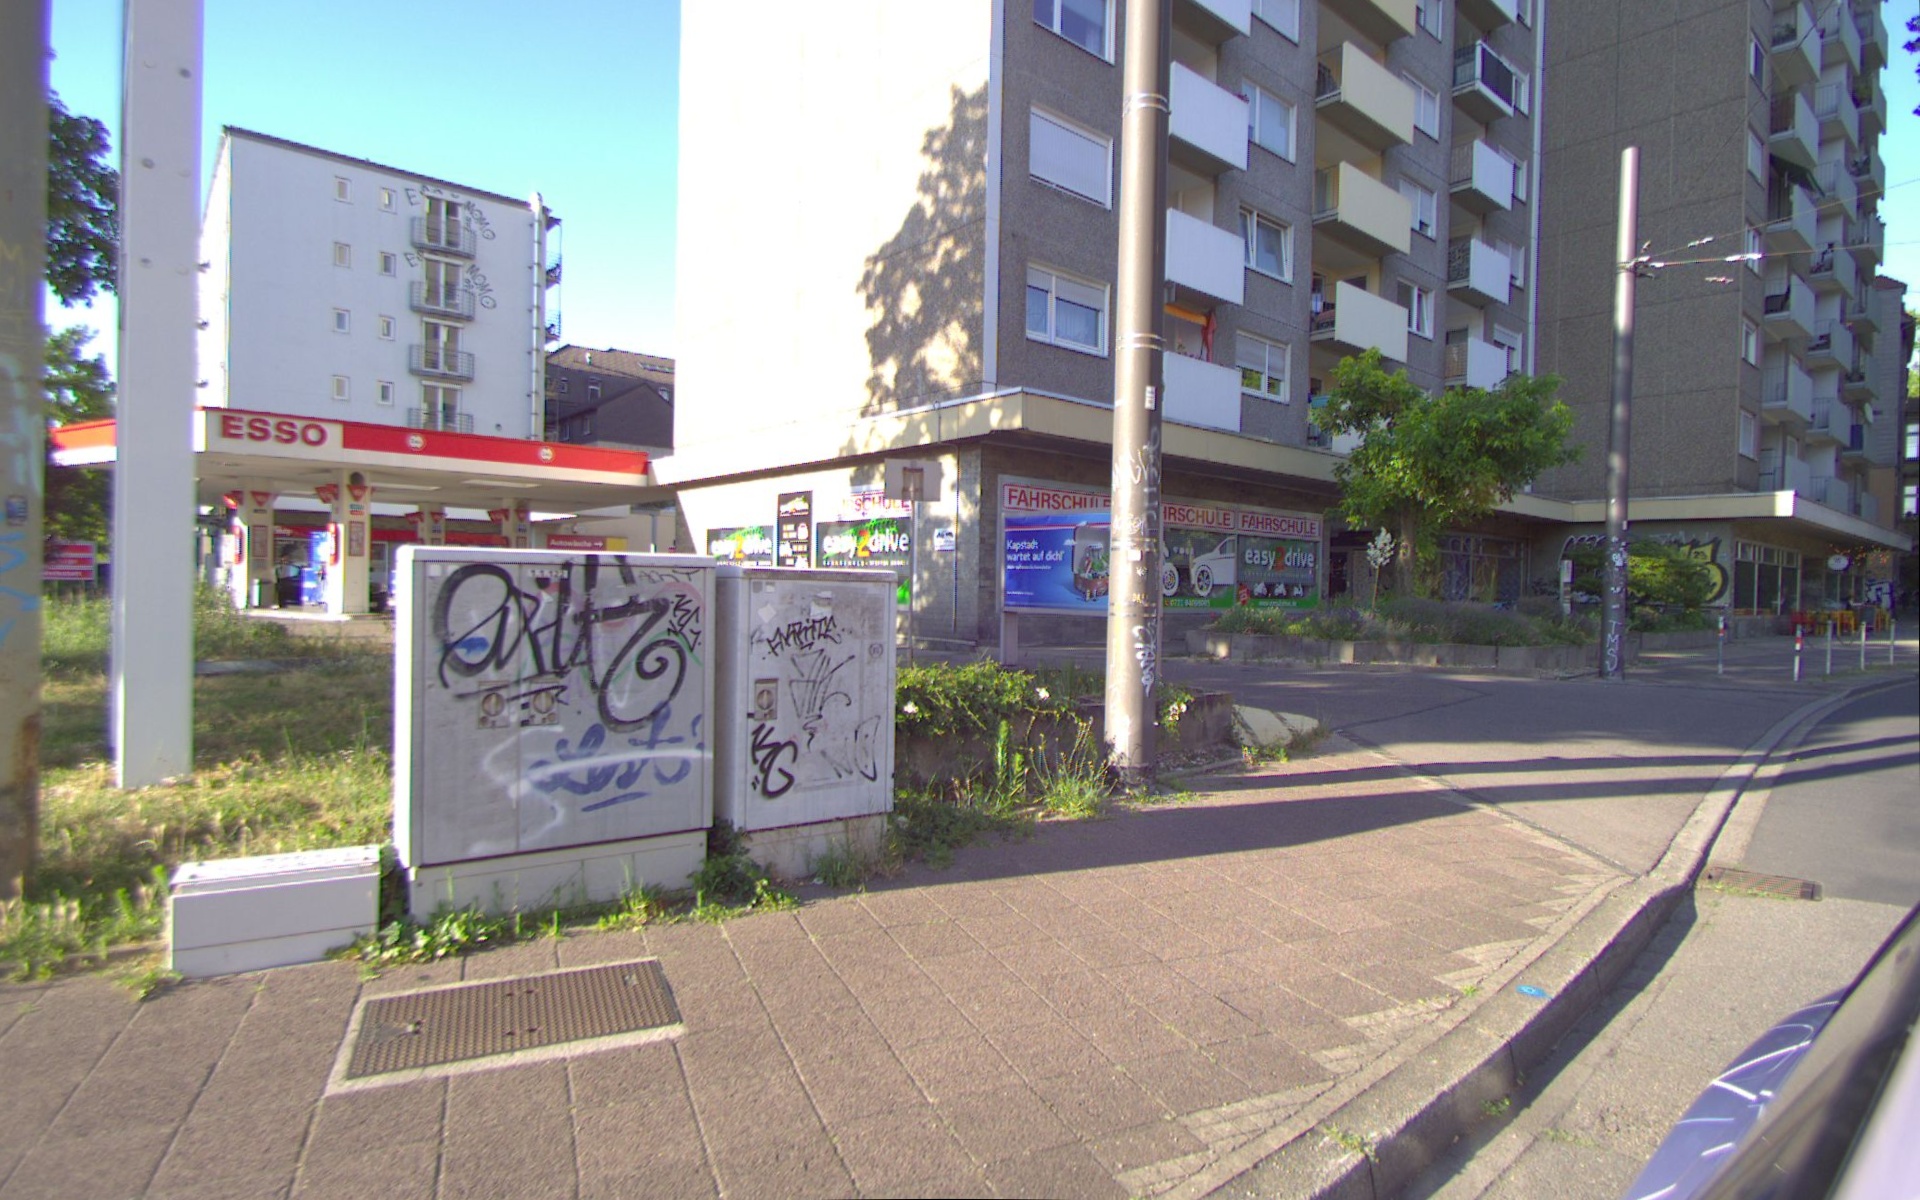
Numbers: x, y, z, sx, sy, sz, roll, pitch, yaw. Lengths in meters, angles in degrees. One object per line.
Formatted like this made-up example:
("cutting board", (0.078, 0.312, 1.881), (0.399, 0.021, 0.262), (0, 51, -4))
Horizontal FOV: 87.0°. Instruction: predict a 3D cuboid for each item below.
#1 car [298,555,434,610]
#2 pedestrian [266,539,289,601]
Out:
("car", (-17.622, -0.538, 29.978), (3.974, 1.370, 1.976), (4, 3, 34))
("pedestrian", (-19.106, -0.843, 28.330), (0.417, 1.726, 0.416), (1, 1, 34))
